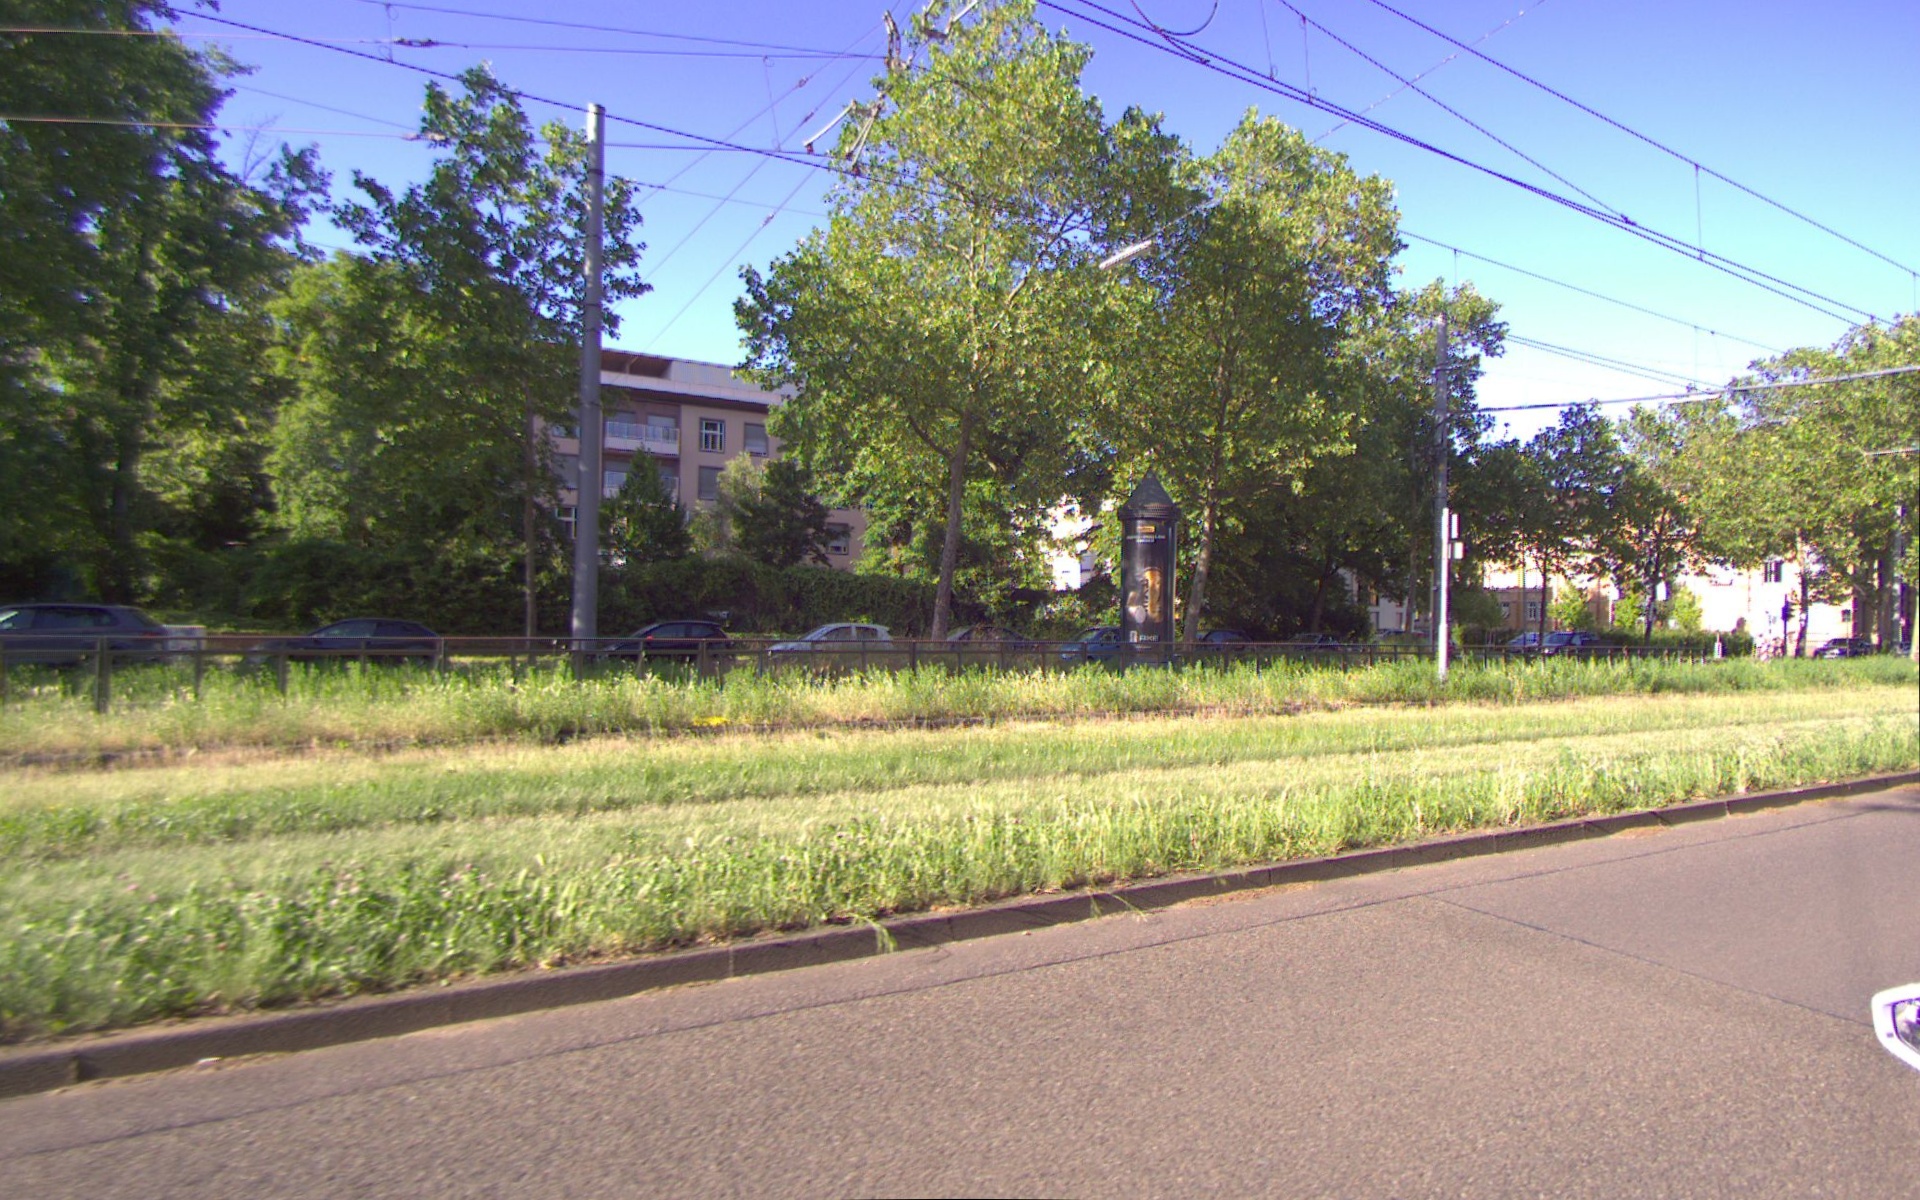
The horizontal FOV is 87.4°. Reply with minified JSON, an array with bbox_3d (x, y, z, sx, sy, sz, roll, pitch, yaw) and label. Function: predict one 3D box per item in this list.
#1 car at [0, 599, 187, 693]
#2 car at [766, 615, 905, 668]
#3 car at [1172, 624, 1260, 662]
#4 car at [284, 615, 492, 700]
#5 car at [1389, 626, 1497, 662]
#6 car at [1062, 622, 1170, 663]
[{"bbox_3d":[-18.307,0.881,19.943,4.464,1.706,1.982,1,1,-32],"label":"car"},{"bbox_3d":[-3.434,1.123,27.797,3.461,1.330,1.561,1,1,-29],"label":"car"},{"bbox_3d":[8.857,1.482,34.723,2.812,1.216,1.393,2,0,-31],"label":"car"},{"bbox_3d":[-12.906,1.258,22.854,3.953,1.706,1.812,1,1,-31],"label":"car"},{"bbox_3d":[19.662,1.759,40.878,3.949,1.328,1.986,1,1,-28],"label":"car"},{"bbox_3d":[5.091,1.371,32.646,3.321,1.245,1.400,2,0,-31],"label":"car"}]
